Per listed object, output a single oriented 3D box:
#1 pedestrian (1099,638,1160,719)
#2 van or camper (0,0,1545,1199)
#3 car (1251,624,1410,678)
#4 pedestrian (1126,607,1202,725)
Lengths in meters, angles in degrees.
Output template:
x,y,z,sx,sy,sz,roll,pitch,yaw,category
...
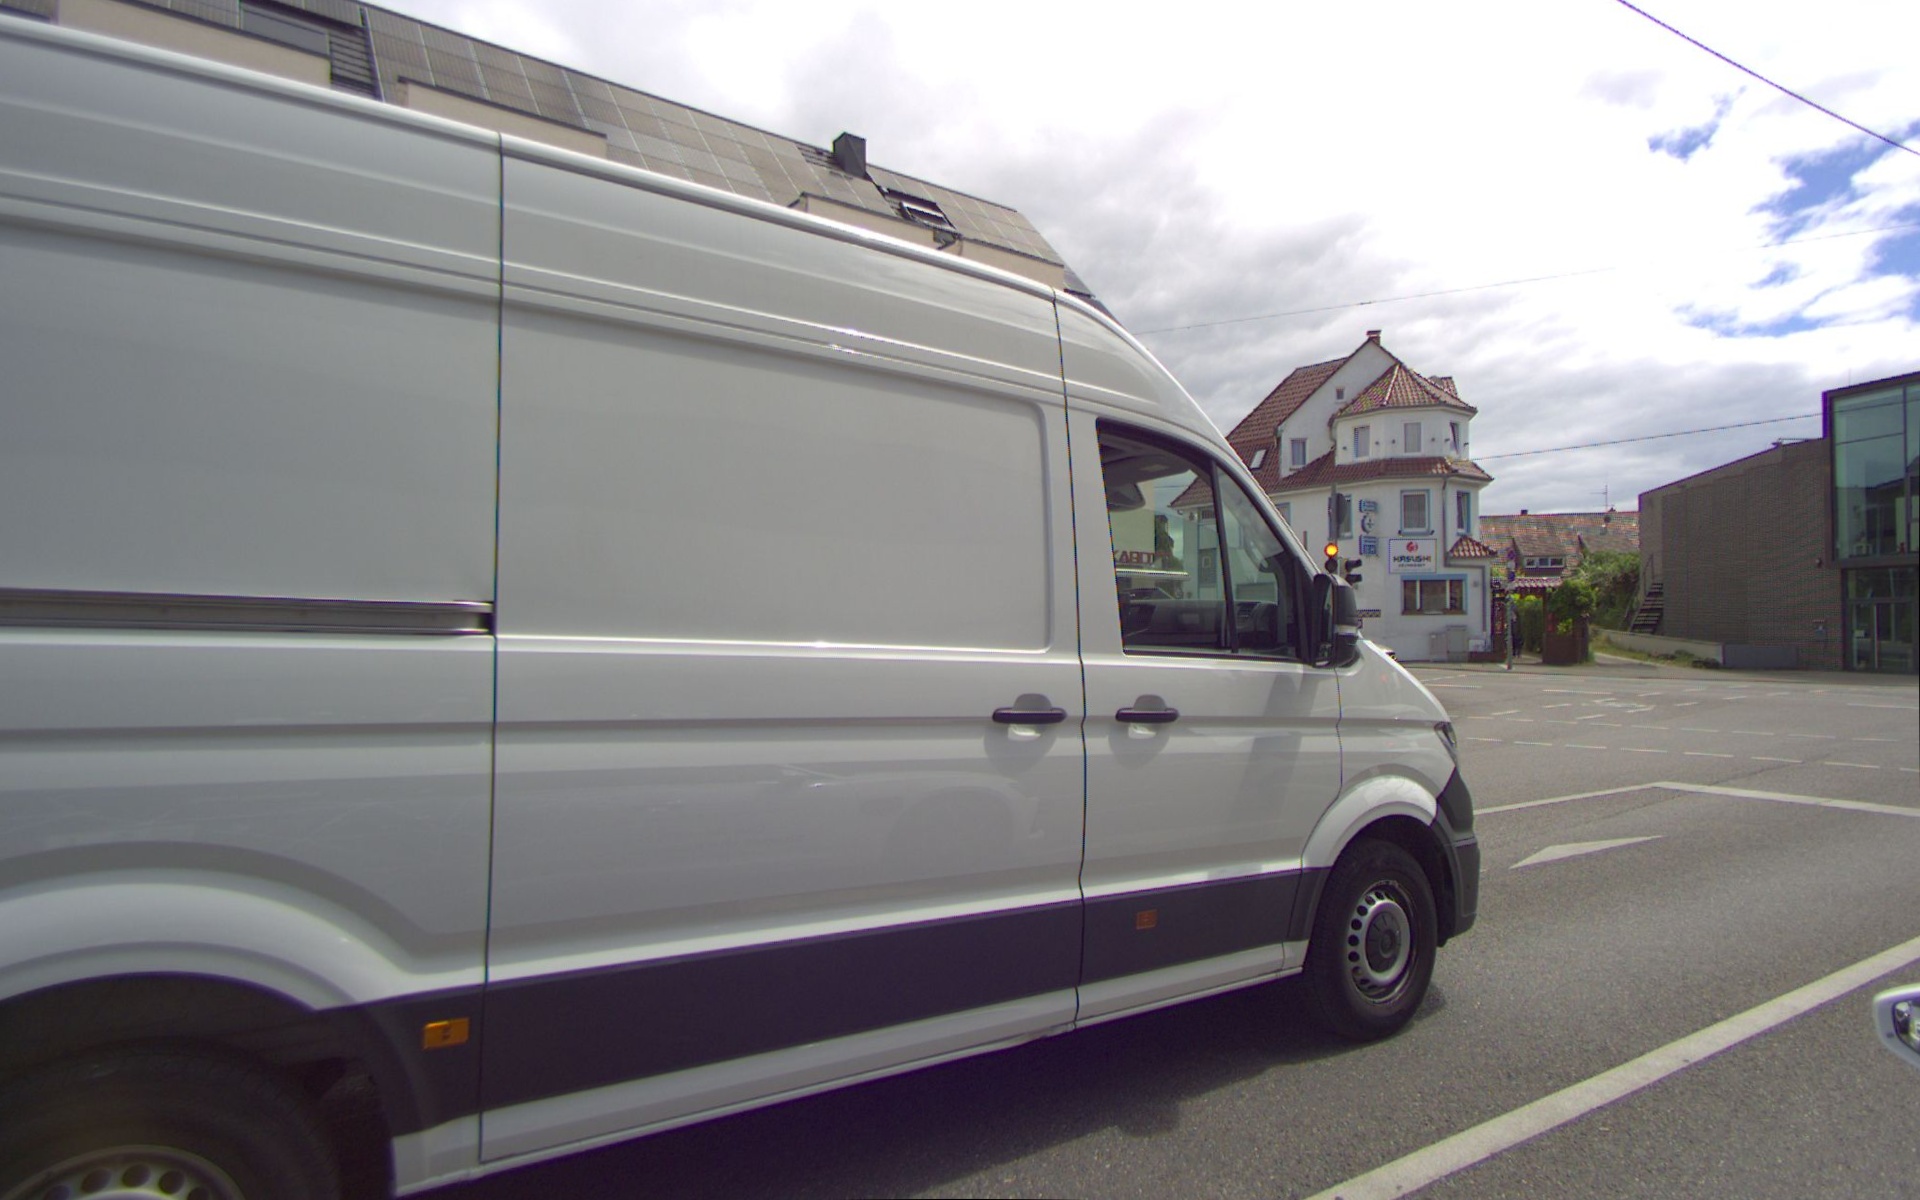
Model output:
x,y,z,sx,sy,sz,roll,pitch,yaw,category
2.699,1.226,16.022,0.729,1.238,0.639,1,-1,-36,pedestrian
-0.637,0.139,3.321,5.857,2.614,2.013,1,0,-33,van or camper
11.744,1.574,32.128,1.879,1.475,4.468,1,0,-36,car
3.123,0.982,15.387,0.817,1.744,0.809,1,-1,-36,pedestrian
